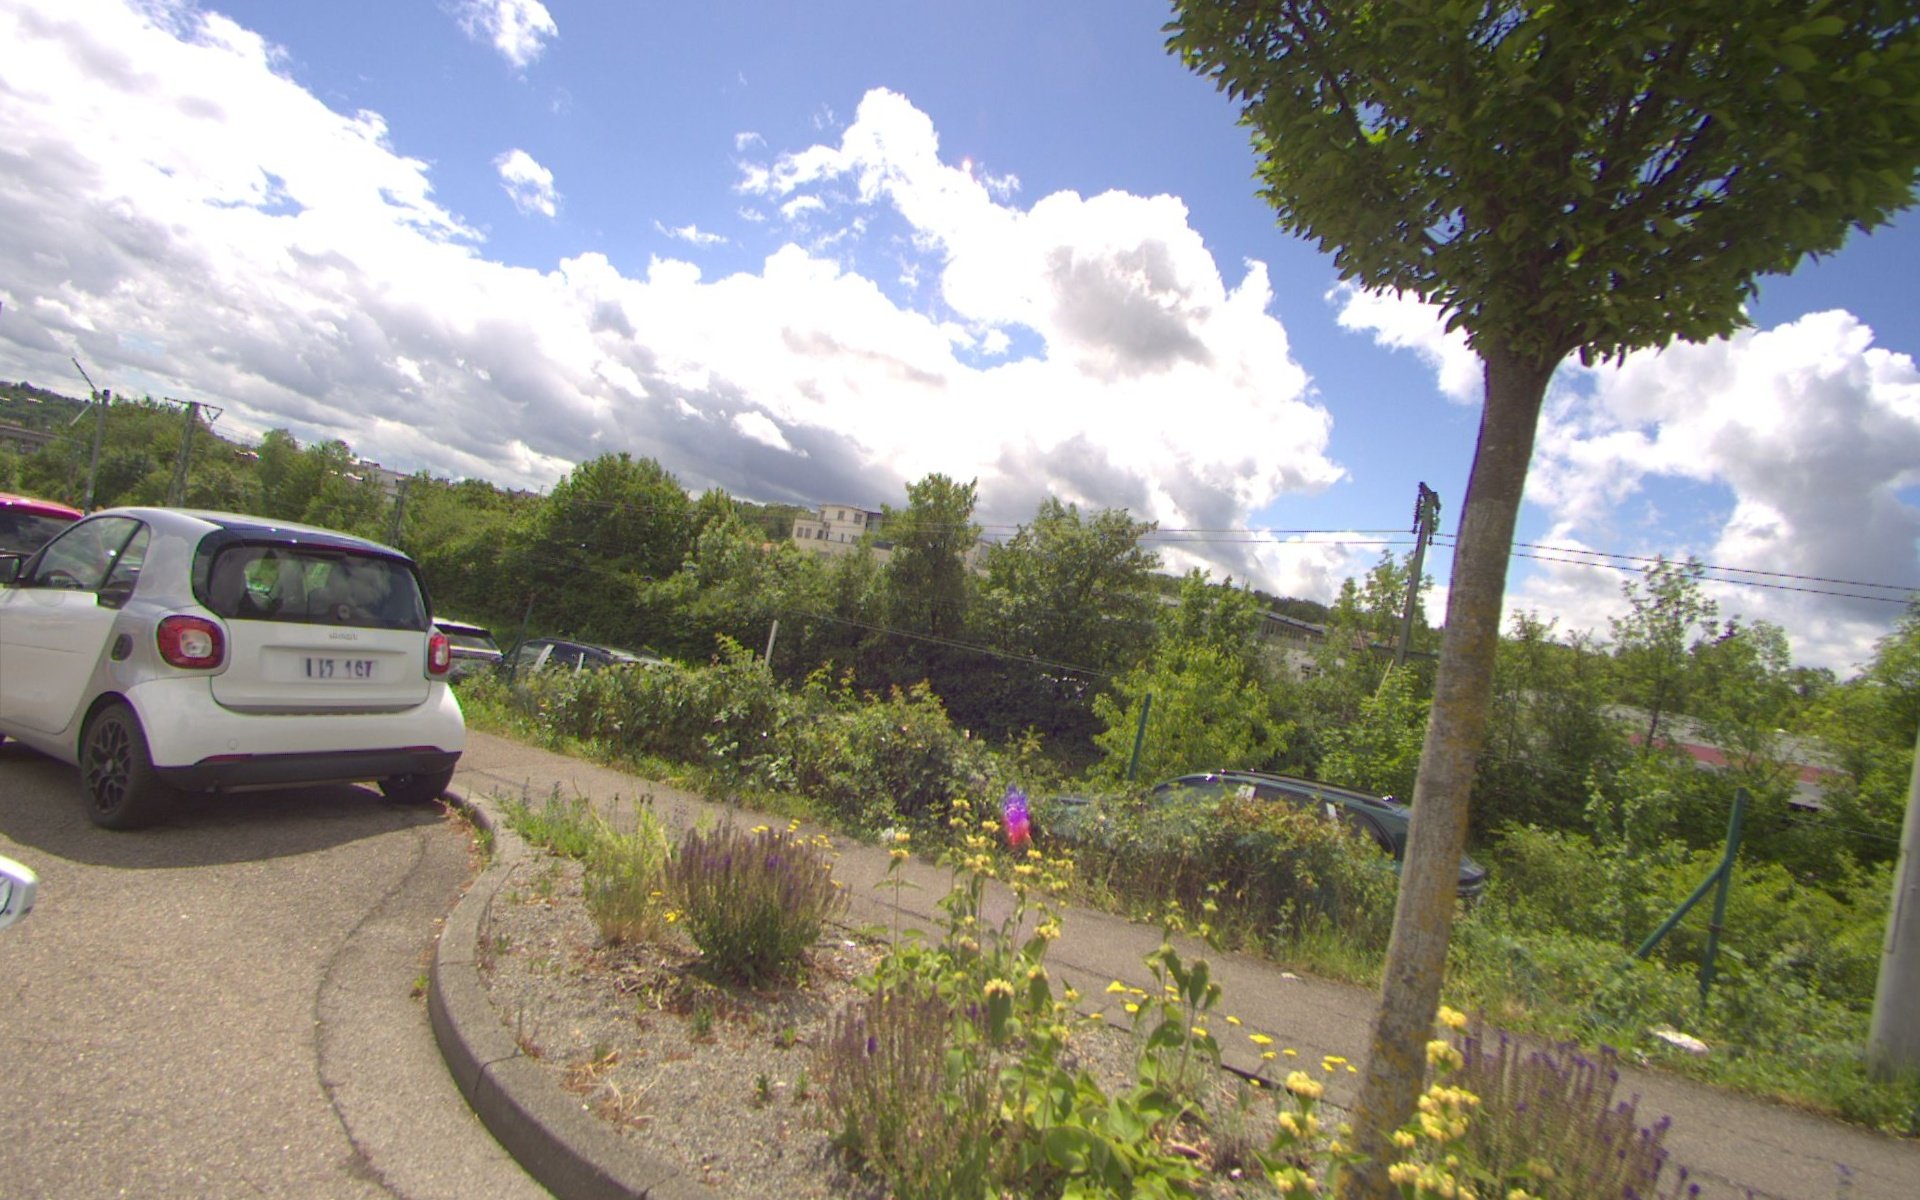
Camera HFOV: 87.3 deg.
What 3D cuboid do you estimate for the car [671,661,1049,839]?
[{"bbox_3d":[-1.345,1.776,12.810,4.479,1.367,1.820,6,-2,31],"label":"car"}]

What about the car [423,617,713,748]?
[{"bbox_3d":[-6.267,1.247,15.948,4.479,1.367,1.820,6,-2,31],"label":"car"}]

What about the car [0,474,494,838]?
[{"bbox_3d":[-4.425,0.221,5.840,2.808,1.540,1.597,7,-2,28],"label":"car"}]

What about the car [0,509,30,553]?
[{"bbox_3d":[-38.213,-2.900,37.774,1.969,1.572,4.449,6,-2,36],"label":"car"}]

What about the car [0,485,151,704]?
[{"bbox_3d":[-8.096,-0.212,7.763,3.440,1.498,1.597,7,-2,29],"label":"car"}]

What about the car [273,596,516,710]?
[{"bbox_3d":[-10.449,0.952,18.515,4.479,1.458,1.820,6,-2,31],"label":"car"}]

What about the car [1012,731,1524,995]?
[{"bbox_3d":[2.979,2.369,10.036,4.479,1.367,1.820,6,-2,31],"label":"car"}]
